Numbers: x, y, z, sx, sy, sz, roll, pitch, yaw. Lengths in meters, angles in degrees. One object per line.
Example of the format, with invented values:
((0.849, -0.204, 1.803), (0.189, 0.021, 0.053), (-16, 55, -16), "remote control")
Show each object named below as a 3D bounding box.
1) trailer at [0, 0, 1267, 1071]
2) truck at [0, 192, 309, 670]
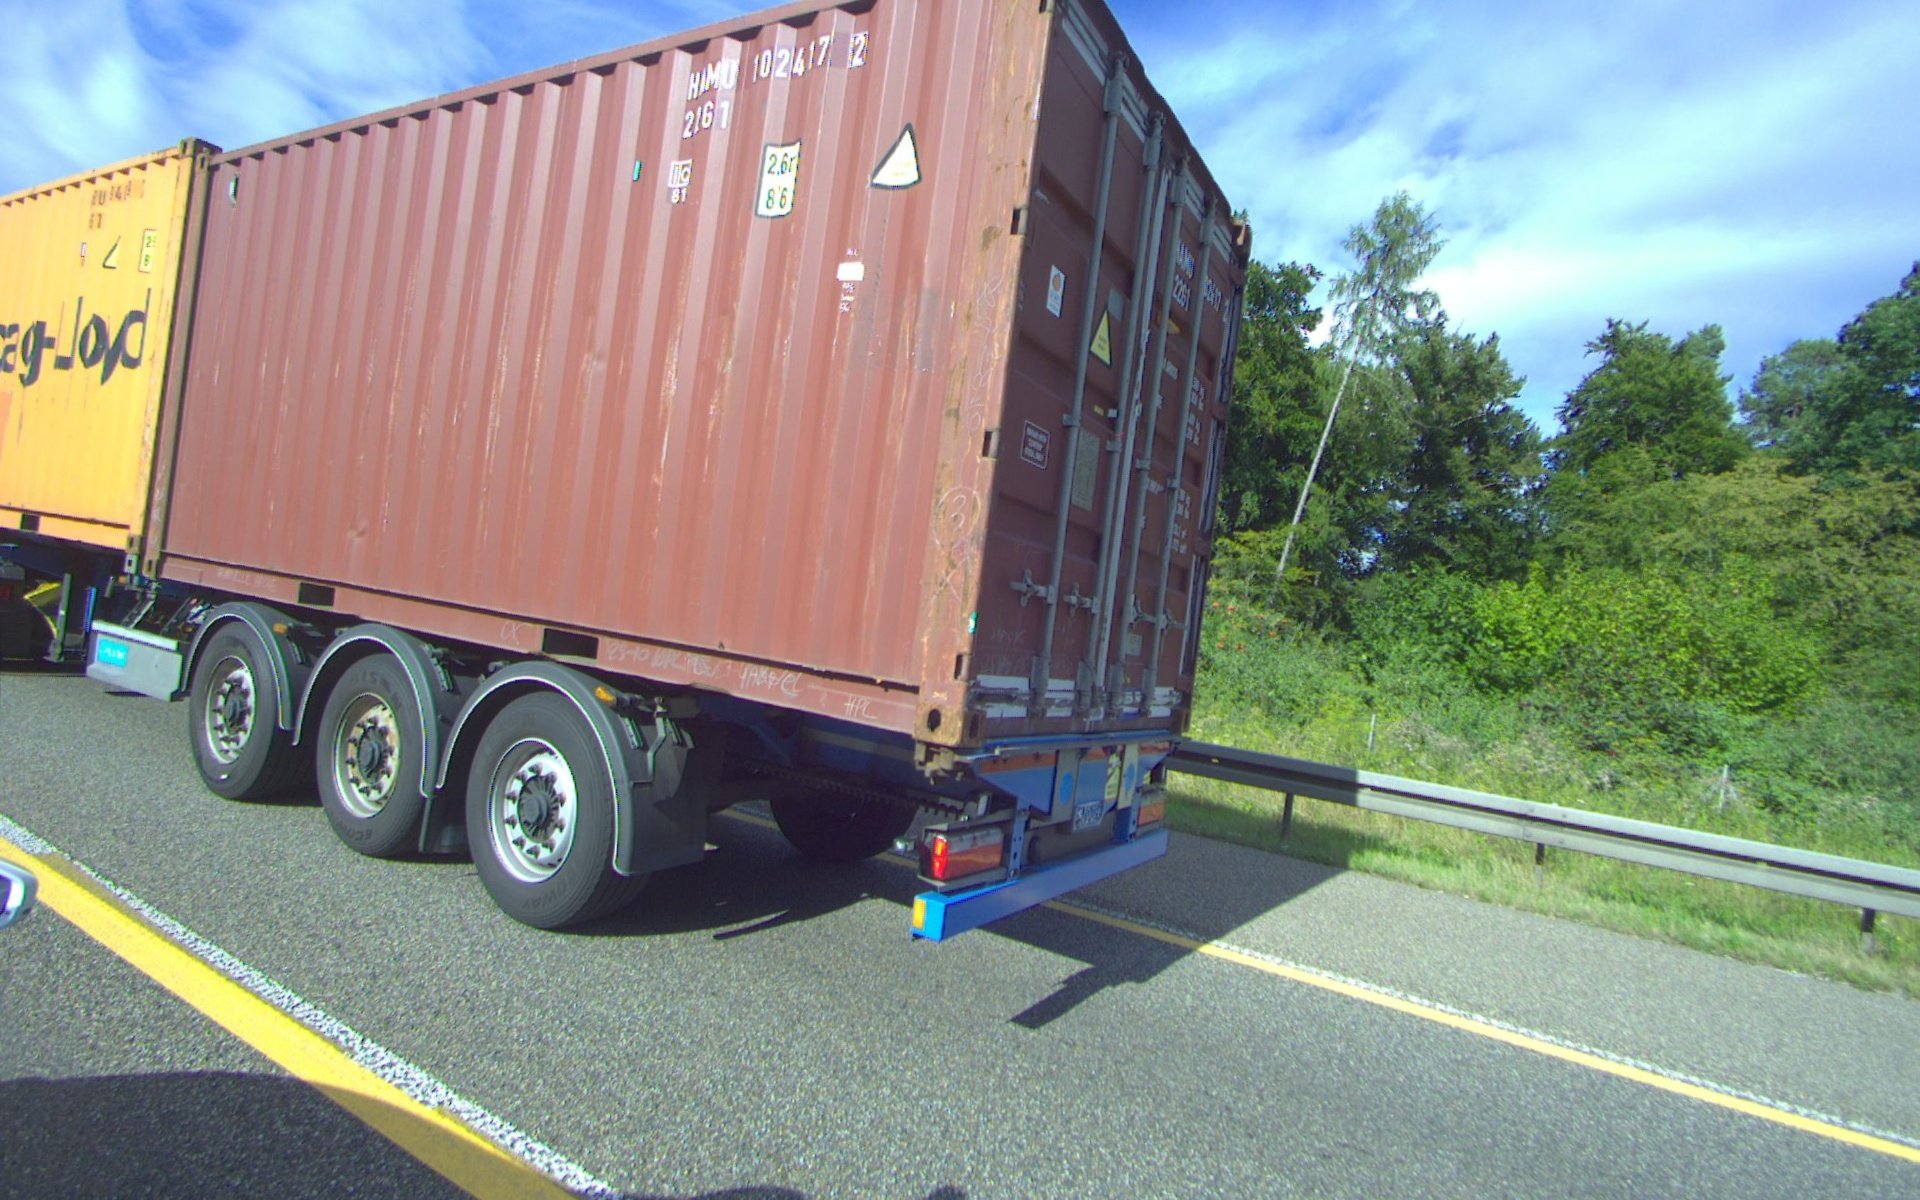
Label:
((-4.331, -0.932, 7.225), (11.931, 3.821, 2.475), (7, 0, 31), "trailer")
((-9.824, -1.563, 10.490), (5.692, 3.827, 2.499), (7, 0, 30), "truck")
